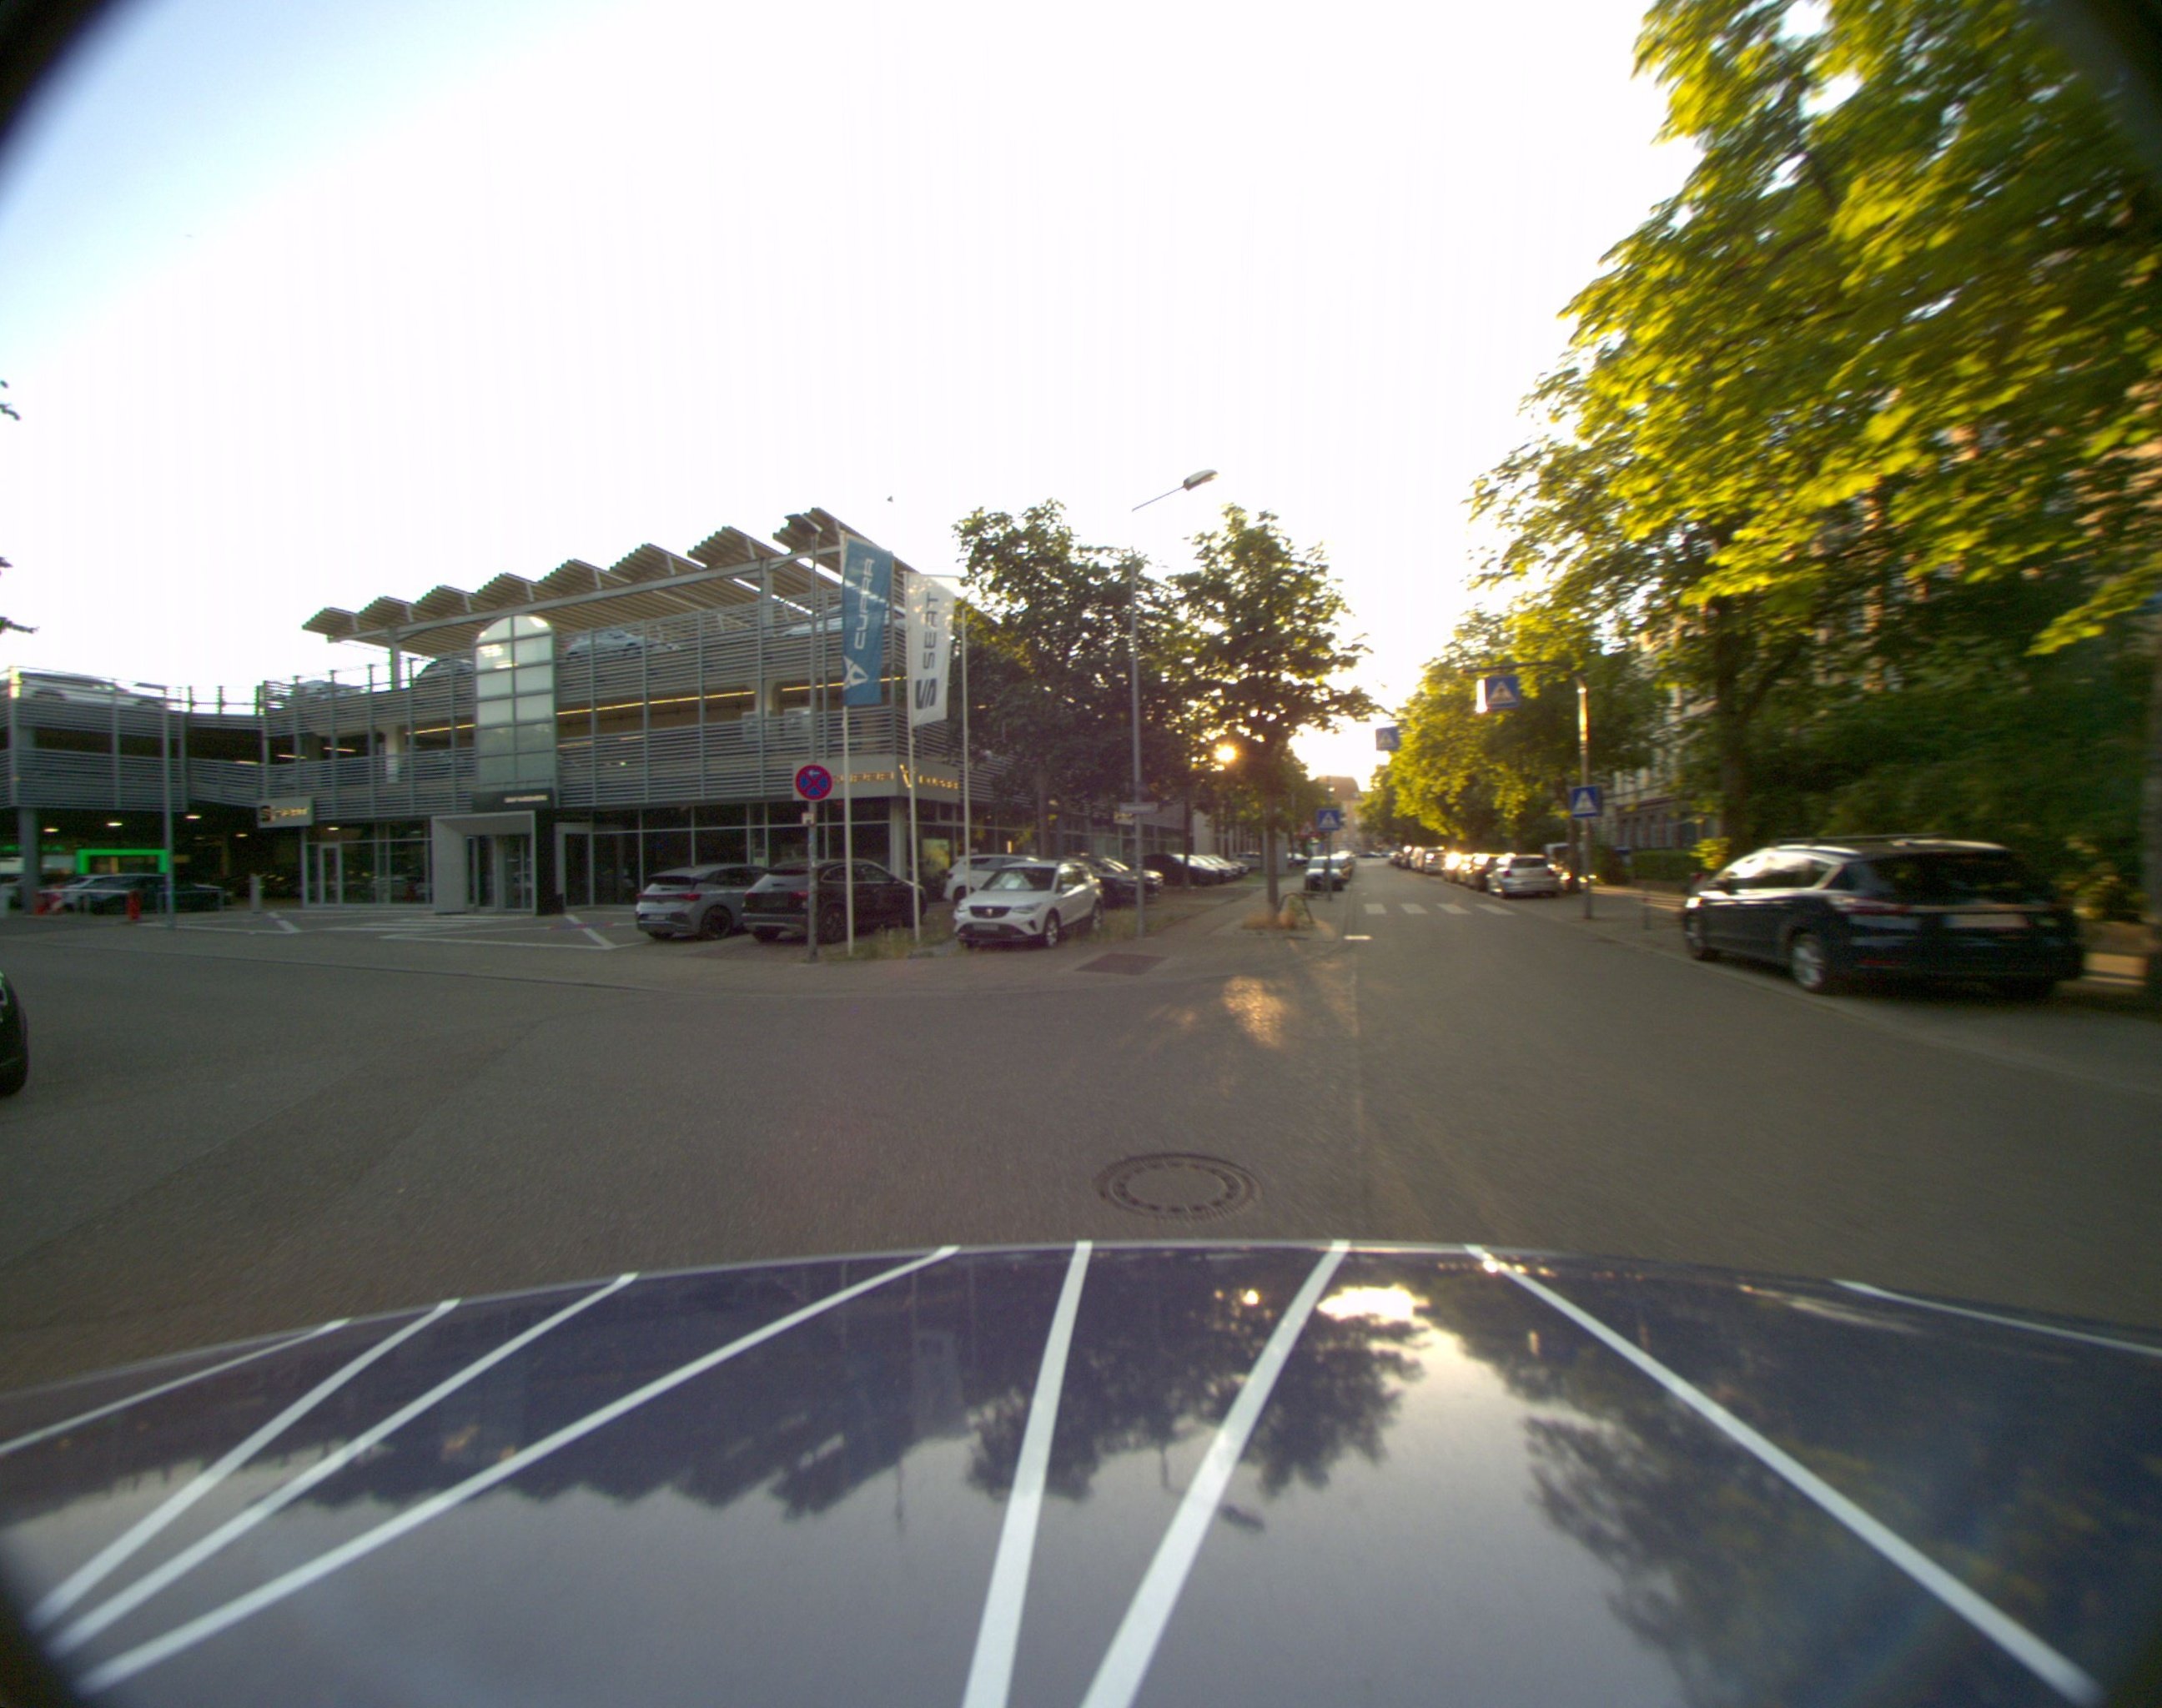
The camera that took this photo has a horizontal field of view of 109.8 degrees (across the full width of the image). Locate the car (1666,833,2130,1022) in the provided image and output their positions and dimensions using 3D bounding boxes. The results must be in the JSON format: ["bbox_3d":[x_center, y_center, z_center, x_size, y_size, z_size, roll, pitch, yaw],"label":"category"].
[{"bbox_3d":[9.167,0.688,9.232,1.868,1.677,4.598,-2,-1,19],"label":"car"}]

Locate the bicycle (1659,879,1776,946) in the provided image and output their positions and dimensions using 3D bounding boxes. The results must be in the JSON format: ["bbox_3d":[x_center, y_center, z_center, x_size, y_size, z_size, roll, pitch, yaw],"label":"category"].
[{"bbox_3d":[11.192,0.993,13.446,0.605,1.030,1.809,-3,0,5],"label":"bicycle"}]

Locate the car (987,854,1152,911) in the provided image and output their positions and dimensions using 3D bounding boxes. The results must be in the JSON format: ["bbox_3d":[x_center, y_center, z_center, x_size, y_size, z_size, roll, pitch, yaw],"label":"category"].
[{"bbox_3d":[-0.331,0.872,23.023,4.582,1.606,1.875,-2,-1,19],"label":"car"}]

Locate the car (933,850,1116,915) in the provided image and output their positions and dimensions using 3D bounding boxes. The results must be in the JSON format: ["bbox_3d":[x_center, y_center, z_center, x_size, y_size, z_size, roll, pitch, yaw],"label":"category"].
[{"bbox_3d":[-1.521,0.770,20.762,4.582,1.634,1.875,-2,-1,19],"label":"car"}]

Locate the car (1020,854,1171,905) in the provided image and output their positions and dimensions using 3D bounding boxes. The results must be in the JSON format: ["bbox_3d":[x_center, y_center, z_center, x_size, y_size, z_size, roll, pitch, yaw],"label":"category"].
[{"bbox_3d":[0.496,0.858,25.105,4.582,1.562,1.875,-2,-1,19],"label":"car"}]

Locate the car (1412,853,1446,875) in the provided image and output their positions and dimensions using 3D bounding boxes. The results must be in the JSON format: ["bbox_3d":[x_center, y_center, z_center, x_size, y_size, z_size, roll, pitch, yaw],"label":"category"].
[{"bbox_3d":[24.311,0.703,53.189,1.614,1.433,4.110,-2,-1,18],"label":"car"}]

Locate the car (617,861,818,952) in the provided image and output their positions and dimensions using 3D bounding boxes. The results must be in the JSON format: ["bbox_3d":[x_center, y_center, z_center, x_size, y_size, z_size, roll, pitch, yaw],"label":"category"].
[{"bbox_3d":[-7.832,1.051,16.754,1.702,1.582,3.698,-1,2,24],"label":"car"}]

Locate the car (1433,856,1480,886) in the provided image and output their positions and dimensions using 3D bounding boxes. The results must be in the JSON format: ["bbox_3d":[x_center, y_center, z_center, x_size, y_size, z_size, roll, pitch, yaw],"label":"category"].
[{"bbox_3d":[20.067,0.879,40.703,1.614,1.433,4.110,-2,-1,18],"label":"car"}]

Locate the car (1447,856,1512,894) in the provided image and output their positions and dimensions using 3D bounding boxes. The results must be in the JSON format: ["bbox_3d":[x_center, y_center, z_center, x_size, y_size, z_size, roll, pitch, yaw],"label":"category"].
[{"bbox_3d":[16.366,0.825,31.374,1.614,1.433,4.317,-2,-1,18],"label":"car"}]

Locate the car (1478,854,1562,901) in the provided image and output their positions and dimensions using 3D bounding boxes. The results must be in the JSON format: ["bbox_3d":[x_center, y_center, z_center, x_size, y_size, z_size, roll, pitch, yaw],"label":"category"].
[{"bbox_3d":[15.127,0.780,26.372,1.615,1.433,3.759,-3,-1,17],"label":"car"}]

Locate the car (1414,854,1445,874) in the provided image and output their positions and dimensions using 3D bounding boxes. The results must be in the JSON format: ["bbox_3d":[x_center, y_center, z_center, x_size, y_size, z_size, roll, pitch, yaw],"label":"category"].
[{"bbox_3d":[26.282,0.758,57.375,1.614,1.433,4.110,-2,-1,18],"label":"car"}]

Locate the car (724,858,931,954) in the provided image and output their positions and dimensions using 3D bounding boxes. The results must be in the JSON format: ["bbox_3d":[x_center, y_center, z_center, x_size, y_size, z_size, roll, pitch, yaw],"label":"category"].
[{"bbox_3d":[-5.012,0.952,15.673,1.714,1.596,4.133,-1,1,22],"label":"car"}]

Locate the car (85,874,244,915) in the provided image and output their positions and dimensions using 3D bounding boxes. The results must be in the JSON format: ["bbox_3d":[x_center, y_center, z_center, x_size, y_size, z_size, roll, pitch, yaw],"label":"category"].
[{"bbox_3d":[-38.081,1.621,31.712,1.629,1.558,3.934,-1,-1,24],"label":"car"}]

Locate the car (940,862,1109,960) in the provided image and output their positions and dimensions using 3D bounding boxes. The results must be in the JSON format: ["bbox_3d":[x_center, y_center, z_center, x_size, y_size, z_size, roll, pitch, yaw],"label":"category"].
[{"bbox_3d":[-0.900,0.955,14.430,1.765,1.562,3.908,-1,0,19],"label":"car"}]

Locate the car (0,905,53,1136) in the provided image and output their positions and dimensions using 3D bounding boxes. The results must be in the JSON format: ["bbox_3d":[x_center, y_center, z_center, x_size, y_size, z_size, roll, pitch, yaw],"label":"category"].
[{"bbox_3d":[-9.348,1.172,5.323,3.933,1.536,1.635,-1,1,23],"label":"car"}]

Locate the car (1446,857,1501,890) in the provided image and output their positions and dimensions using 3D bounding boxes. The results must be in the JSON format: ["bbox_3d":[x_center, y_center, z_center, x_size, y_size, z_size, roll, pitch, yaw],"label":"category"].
[{"bbox_3d":[18.537,0.872,36.055,1.614,1.433,4.317,-2,-1,18],"label":"car"}]
